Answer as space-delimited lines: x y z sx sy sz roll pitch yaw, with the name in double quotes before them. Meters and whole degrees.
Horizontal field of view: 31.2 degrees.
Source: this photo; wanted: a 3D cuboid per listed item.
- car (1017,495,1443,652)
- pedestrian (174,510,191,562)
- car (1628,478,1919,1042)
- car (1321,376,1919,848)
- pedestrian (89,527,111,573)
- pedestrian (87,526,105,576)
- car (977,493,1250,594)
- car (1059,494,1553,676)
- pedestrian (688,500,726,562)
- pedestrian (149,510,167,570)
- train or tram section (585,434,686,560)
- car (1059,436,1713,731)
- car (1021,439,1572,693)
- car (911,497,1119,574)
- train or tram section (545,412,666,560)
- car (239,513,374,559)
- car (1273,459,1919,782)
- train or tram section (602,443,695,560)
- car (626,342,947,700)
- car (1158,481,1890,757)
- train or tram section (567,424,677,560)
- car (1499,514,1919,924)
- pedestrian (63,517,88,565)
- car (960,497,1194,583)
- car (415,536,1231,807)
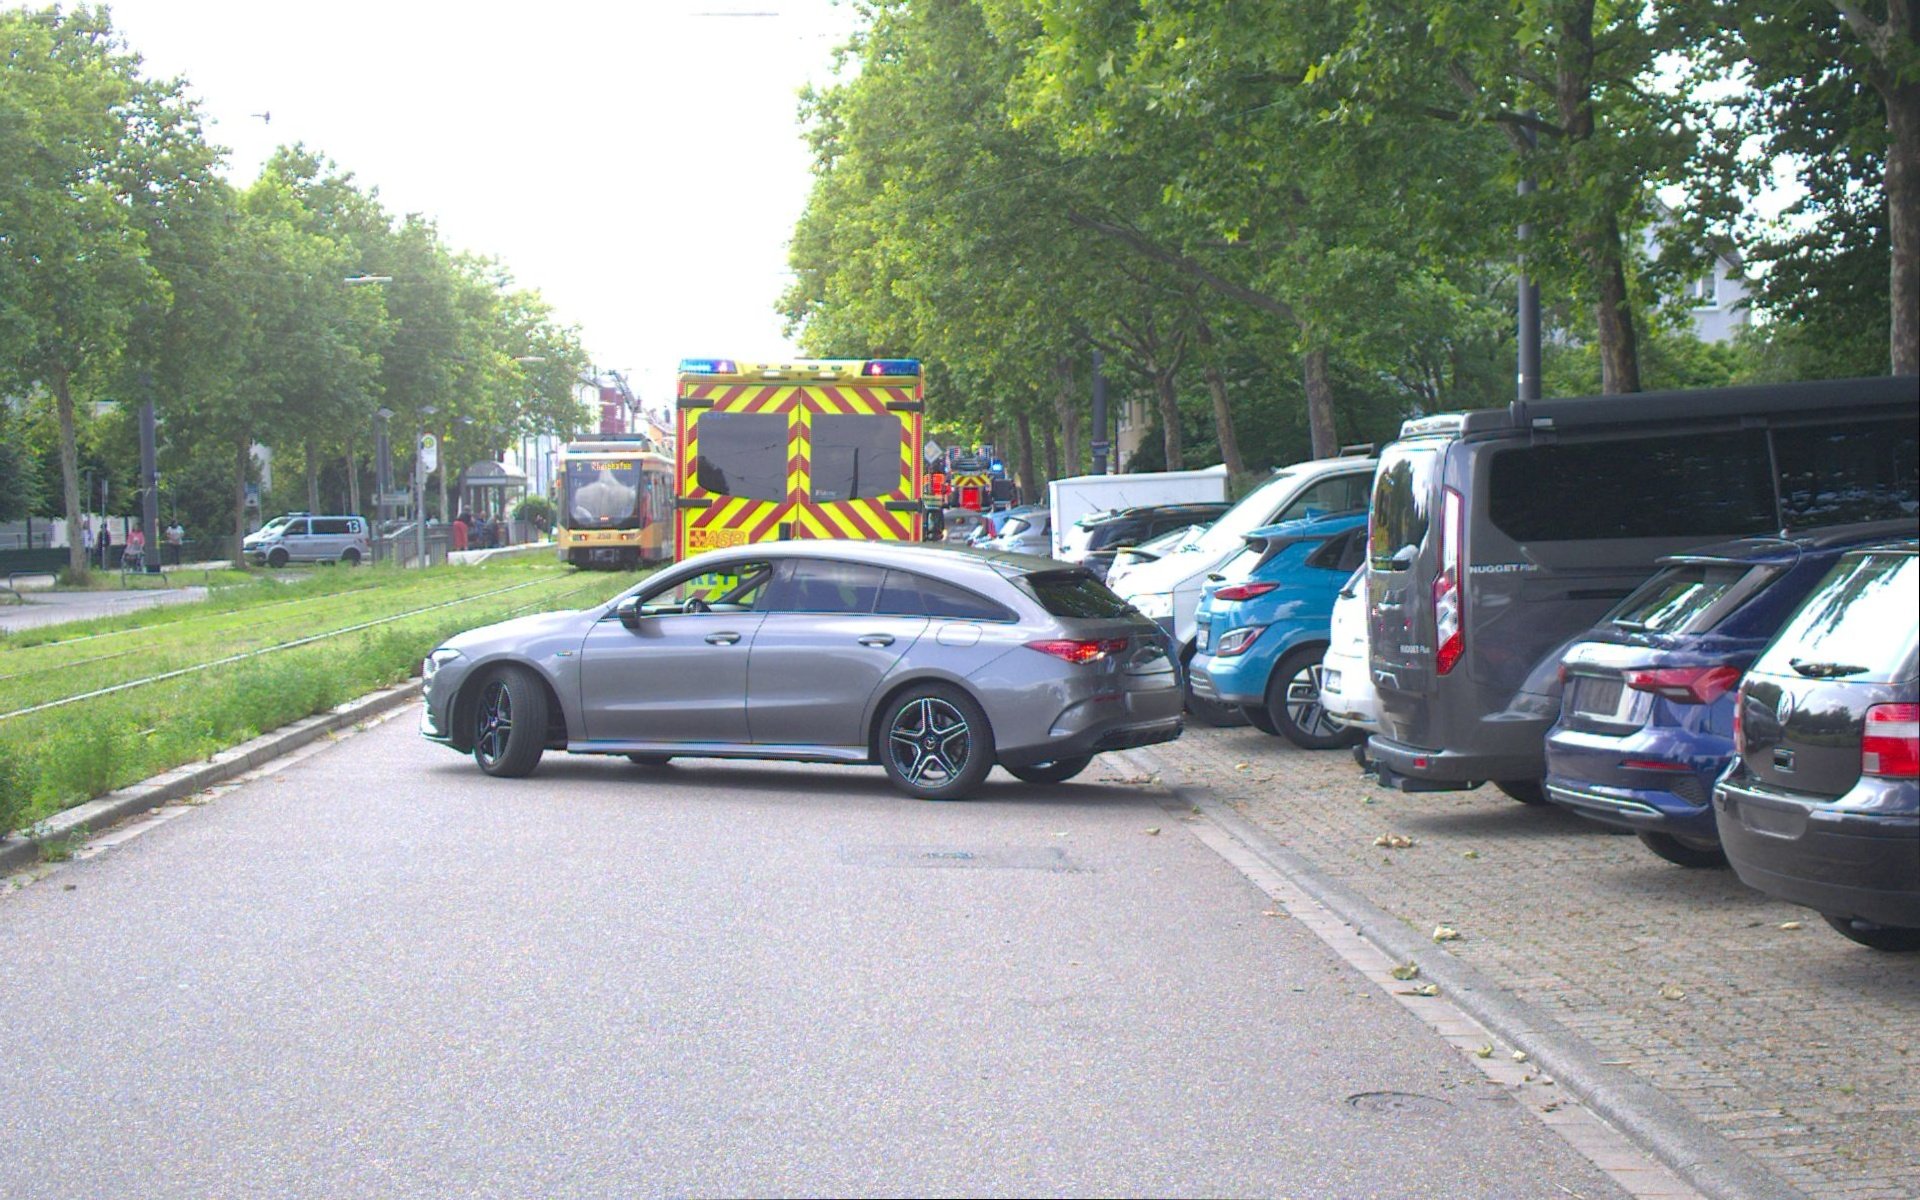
"car" 3.035 -0.318 39.177 4.545 1.603 1.856 -2 1 -6
"pedestrian" -27.271 -2.234 120.601 0.466 1.822 0.423 -1 1 -4
"car" 4.373 0.369 11.032 3.964 1.600 1.757 -2 1 -12
"car" 4.207 -0.001 16.965 4.545 2.116 1.856 -2 1 -2
"pedestrian" -26.133 -1.520 104.474 0.422 1.409 0.467 -1 1 23
"pedestrian" -25.802 -1.472 102.652 0.421 1.468 0.467 -1 1 -6
"car" 2.685 -1.003 60.728 4.545 1.603 1.856 -2 1 -6
"car" 3.372 -0.170 34.028 4.545 1.603 1.856 -2 1 -6
"pedestrian" -6.231 -1.692 84.703 0.880 1.520 0.751 1 0 -2
"pedestrian" -22.993 -1.719 98.547 0.421 1.724 0.467 -1 1 -6
"train or tram section" -9.712 -3.031 103.586 2.511 3.572 7.446 -2 1 -2
"car" 3.150 -0.150 25.950 4.545 1.994 1.856 -2 1 -6
"car" 2.933 -0.324 30.539 4.545 2.036 1.856 -2 1 -6
"car" 1.235 -1.475 78.778 4.545 1.603 1.856 -2 1 -6
"train or tram section" -9.083 -2.863 88.719 2.511 3.572 7.446 -2 1 -2
"car" -24.484 -2.419 128.944 4.615 1.627 1.882 -2 2 -41
"car" 4.314 0.077 20.913 4.545 1.760 1.856 -2 1 -2
"train or tram section" -10.015 -3.114 111.023 2.511 3.572 7.446 -2 1 -2
"car" -1.510 -0.737 32.438 2.641 2.956 6.300 2 1 -1
"car" 3.773 0.095 23.434 4.545 1.654 1.856 -2 1 -6
"train or tram section" -9.401 -2.947 96.146 2.511 3.572 7.446 -2 1 -2
"car" 4.322 0.385 13.782 3.965 1.489 1.756 -2 1 -2
"pedestrian" -28.963 -1.940 112.577 0.632 1.545 0.622 -1 1 -5
"car" 2.386 -1.239 70.574 4.545 1.603 1.856 -2 1 -6
"car" -0.816 0.358 20.232 4.459 1.381 1.764 2 1 23
